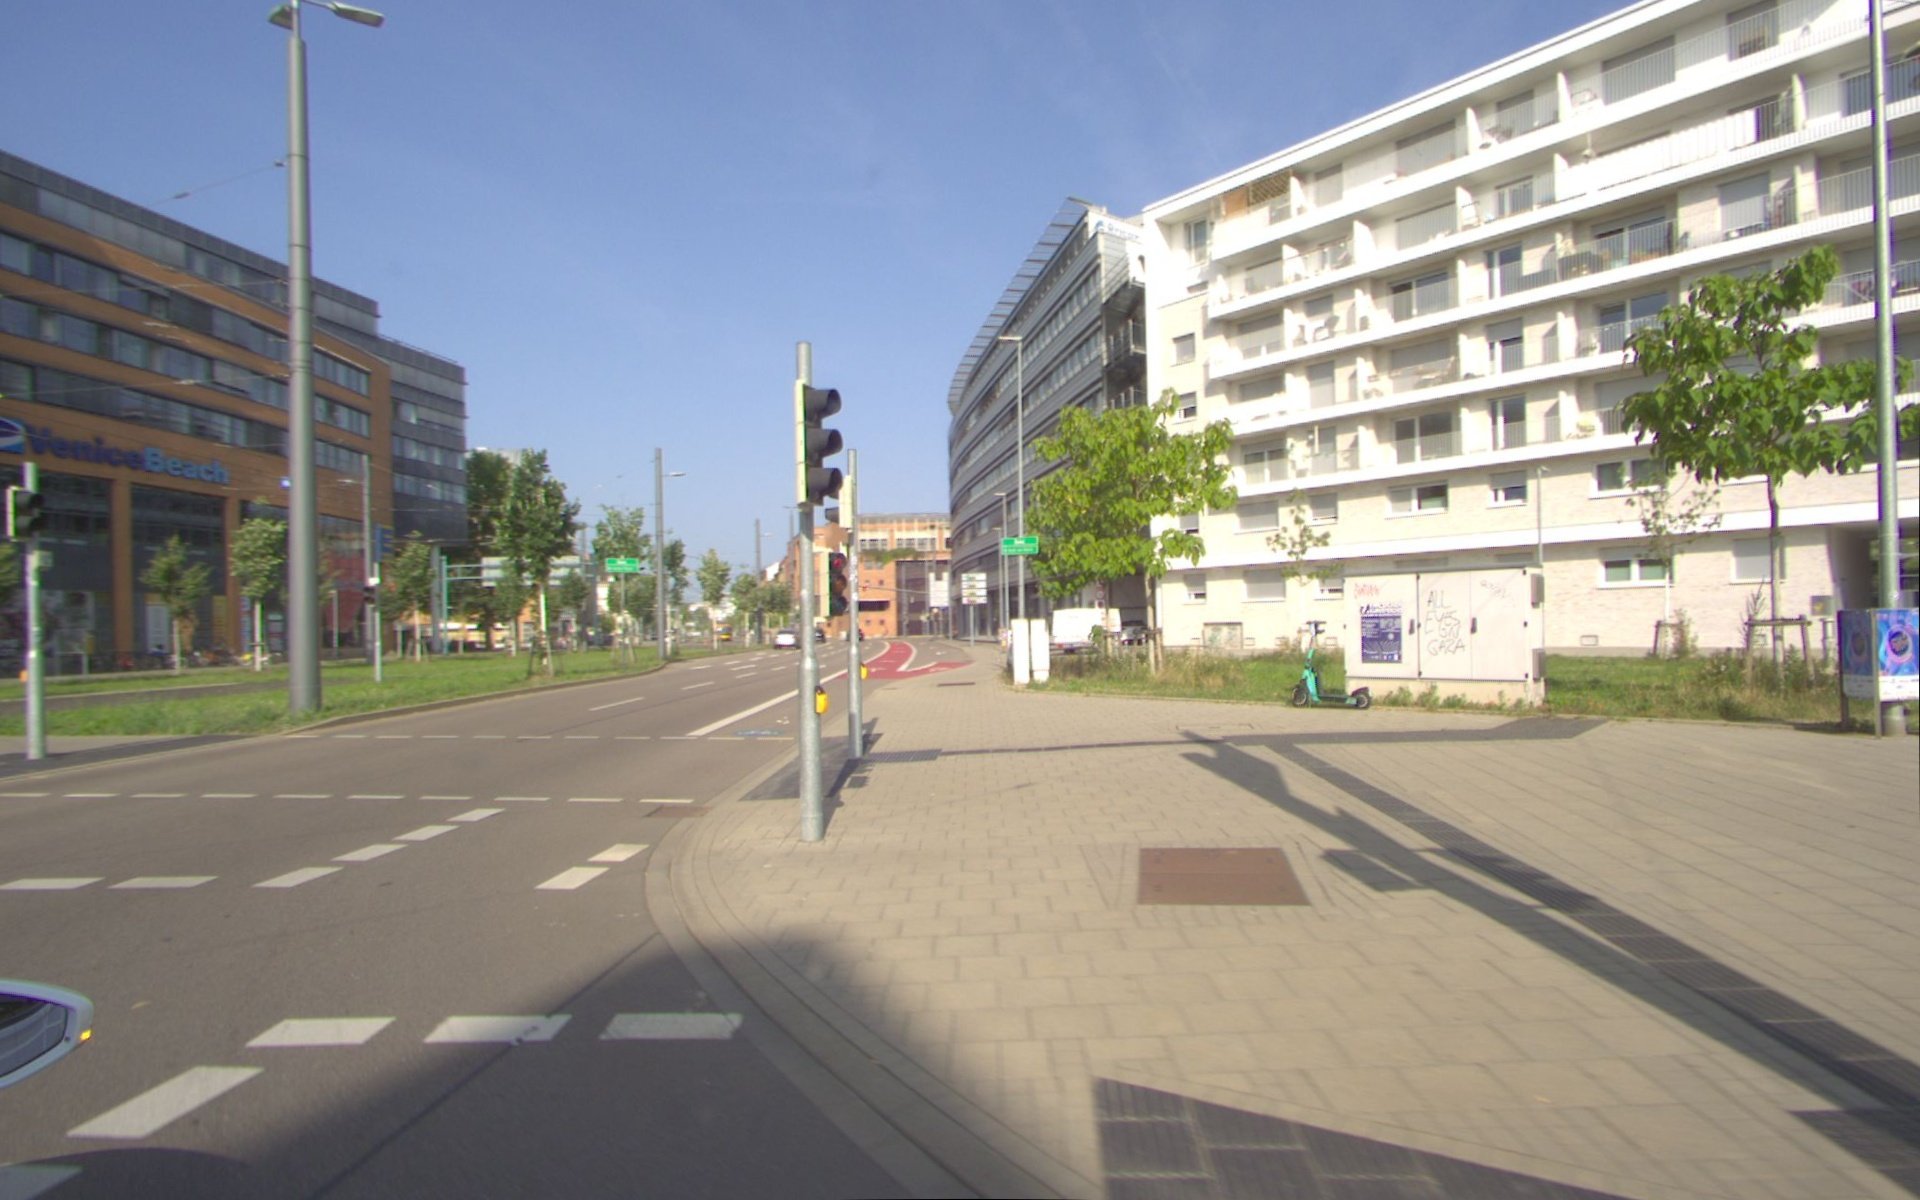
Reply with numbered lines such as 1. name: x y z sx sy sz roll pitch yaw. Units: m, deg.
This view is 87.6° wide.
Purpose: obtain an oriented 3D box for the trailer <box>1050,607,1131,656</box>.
1. trailer: 6.324 1.501 47.899 2.356 2.178 5.935 -2 -2 22

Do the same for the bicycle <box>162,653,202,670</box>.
1. bicycle: -45.475 3.591 58.541 2.015 0.933 0.573 -1 -1 7

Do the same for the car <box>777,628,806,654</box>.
1. car: -12.191 2.992 72.762 1.677 1.777 3.893 -1 -3 -4

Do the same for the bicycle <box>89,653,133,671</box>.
1. bicycle: -45.842 3.358 54.051 2.015 0.933 0.573 -1 -1 7

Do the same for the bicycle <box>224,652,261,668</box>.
1. bicycle: -45.012 3.747 62.836 2.015 0.933 0.573 -1 -1 7

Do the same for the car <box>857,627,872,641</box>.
1. car: -11.354 4.038 118.744 1.744 1.528 3.522 -1 -3 -7

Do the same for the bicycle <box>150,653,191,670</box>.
1. bicycle: -45.488 3.523 57.678 2.015 0.933 0.573 -1 -1 7

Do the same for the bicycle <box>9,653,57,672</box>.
1. bicycle: -46.267 3.125 49.989 2.015 0.933 0.573 -1 -1 7

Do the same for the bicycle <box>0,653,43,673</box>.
1. bicycle: -46.318 3.082 49.254 2.015 0.933 0.573 -1 -1 7

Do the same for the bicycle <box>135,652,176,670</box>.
1. bicycle: -45.634 3.461 56.803 2.015 0.933 0.573 -1 -1 7

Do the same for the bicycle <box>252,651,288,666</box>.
1. bicycle: -44.947 3.835 65.217 2.015 0.933 0.573 -1 -1 7

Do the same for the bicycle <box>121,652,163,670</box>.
1. bicycle: -45.664 3.409 55.928 2.015 0.933 0.573 -1 -1 7

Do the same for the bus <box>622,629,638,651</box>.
1. bus: -65.234 7.961 197.978 2.707 3.968 12.205 1 -4 -17

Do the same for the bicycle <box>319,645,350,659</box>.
1. bicycle: -40.119 3.331 64.260 1.649 0.918 0.709 -1 -2 12

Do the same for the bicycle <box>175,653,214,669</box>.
1. bicycle: -45.403 3.609 59.398 2.015 0.933 0.573 -1 -1 7

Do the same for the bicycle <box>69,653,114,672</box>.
1. bicycle: -45.860 3.292 52.899 2.015 0.933 0.573 -1 -1 7

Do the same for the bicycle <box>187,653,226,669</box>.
1. bicycle: -45.380 3.662 60.289 2.015 0.933 0.573 -1 -1 7

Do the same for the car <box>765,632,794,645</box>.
1. car: -23.385 4.952 129.718 3.557 1.644 1.866 0 -2 -13

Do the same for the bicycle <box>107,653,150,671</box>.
1. bicycle: -45.695 3.401 55.055 2.015 0.933 0.573 -1 -1 7

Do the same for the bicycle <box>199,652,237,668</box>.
1. bicycle: -45.338 3.688 61.190 2.015 0.933 0.573 -1 -1 7
